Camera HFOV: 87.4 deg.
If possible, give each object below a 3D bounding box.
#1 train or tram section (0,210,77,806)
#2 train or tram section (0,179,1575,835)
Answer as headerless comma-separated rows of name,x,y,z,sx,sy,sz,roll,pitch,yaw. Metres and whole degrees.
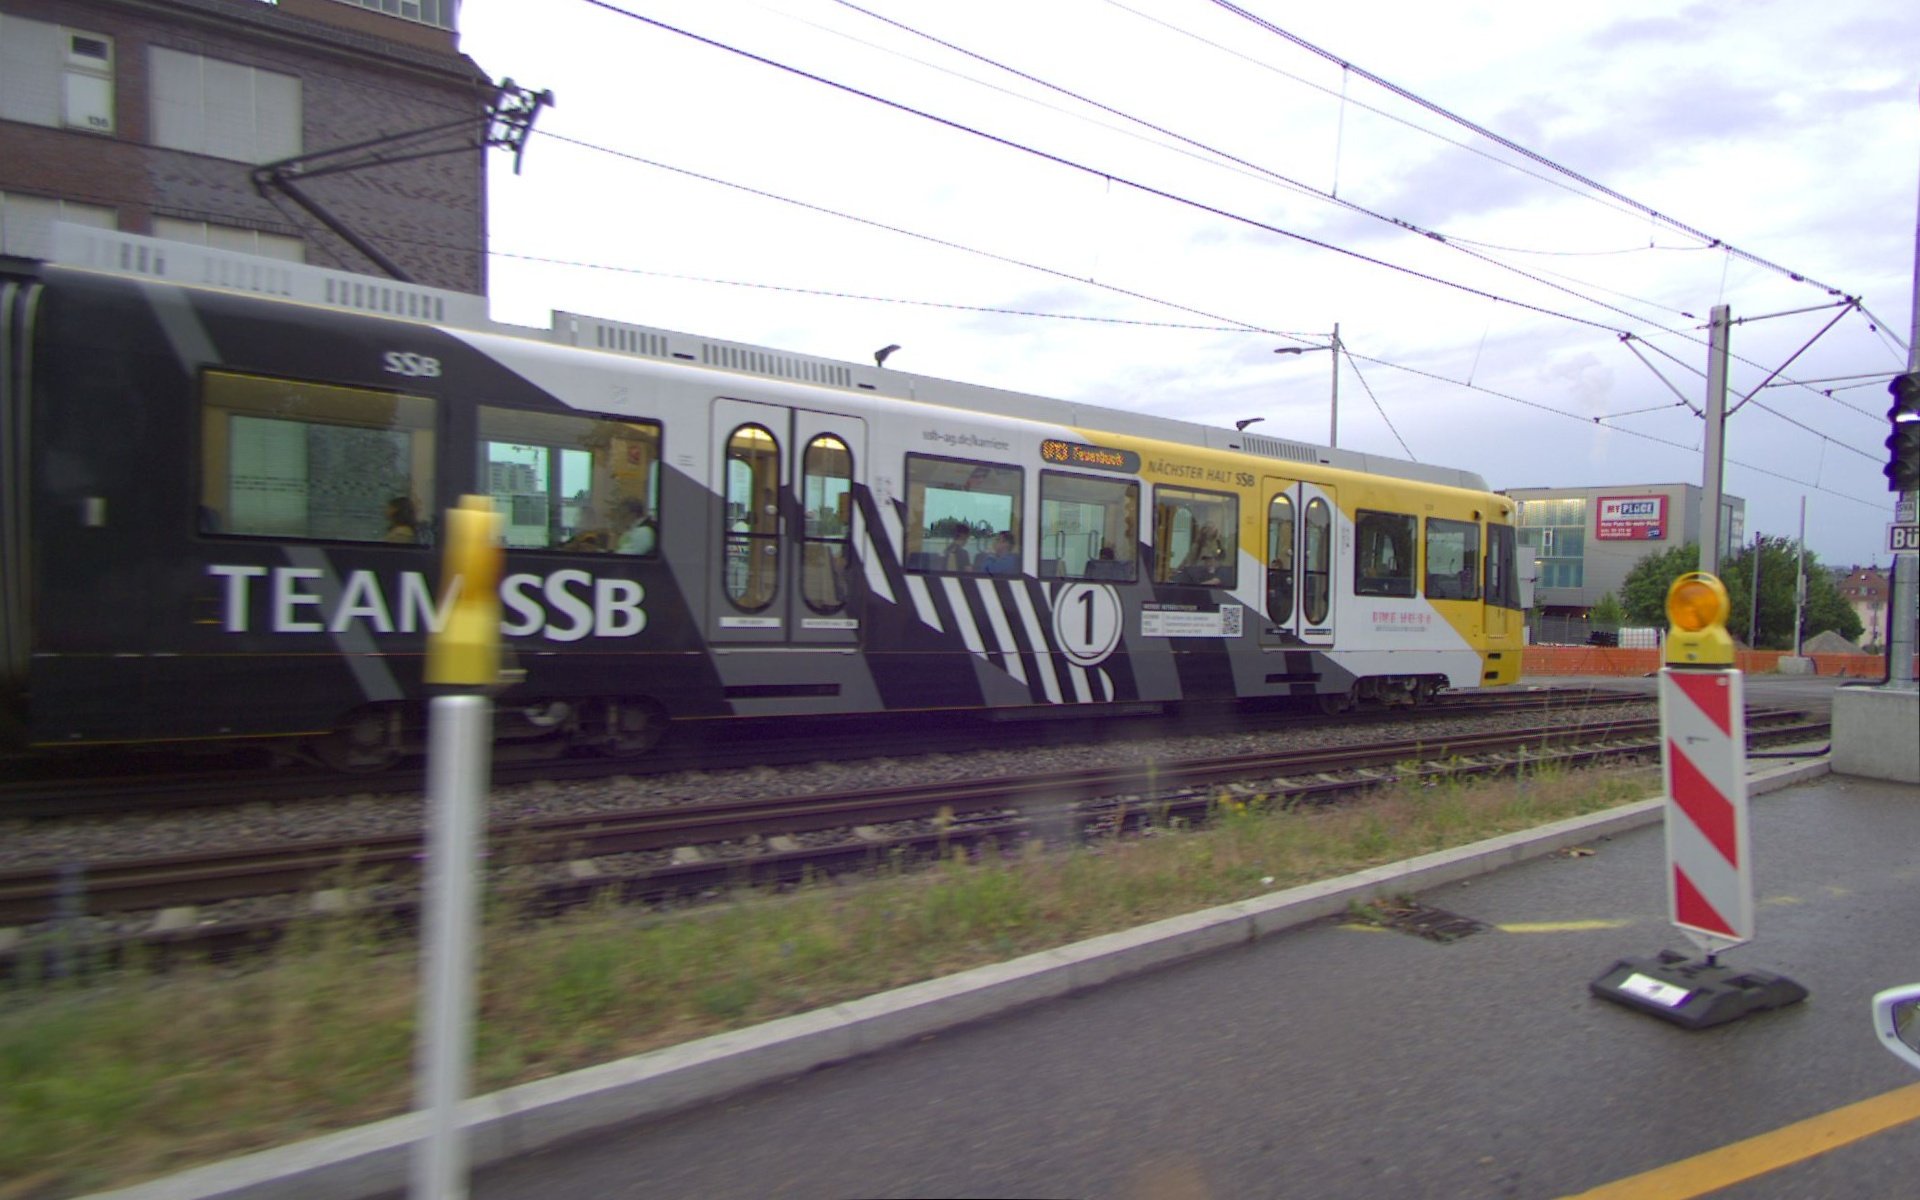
train or tram section,-14.852,-0.824,1.999,19.358,3.938,2.938,2,2,-33
train or tram section,1.261,-0.399,12.474,19.086,3.938,2.937,1,2,-34
